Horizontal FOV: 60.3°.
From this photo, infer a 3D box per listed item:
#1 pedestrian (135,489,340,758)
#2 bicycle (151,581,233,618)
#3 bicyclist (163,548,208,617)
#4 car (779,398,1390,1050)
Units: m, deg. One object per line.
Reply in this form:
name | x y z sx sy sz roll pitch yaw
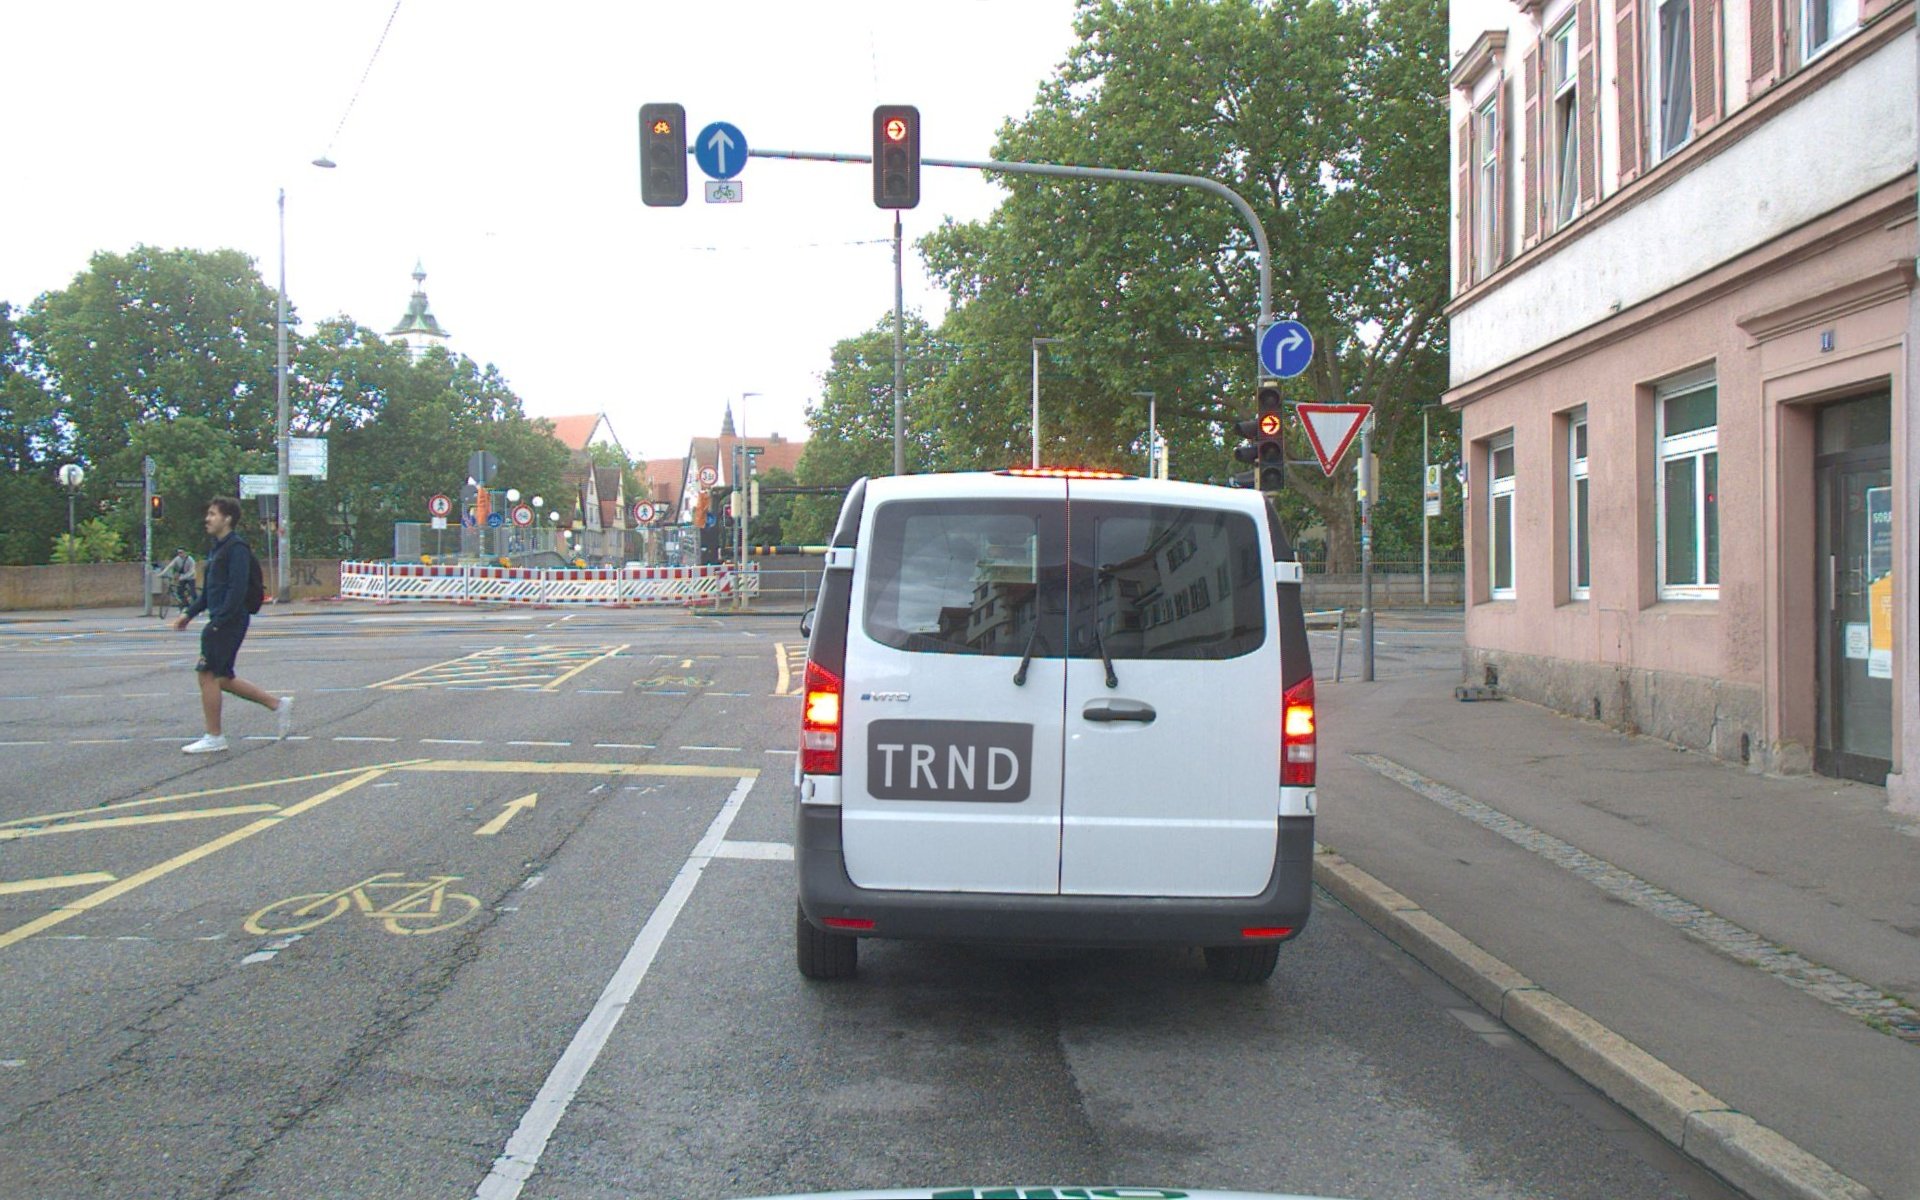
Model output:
pedestrian | -5.394 0.156 12.417 1.066 1.919 1.058 1 1 -1
bicycle | -19.601 -0.017 42.221 0.532 0.908 1.872 0 1 37
bicyclist | -19.698 -0.448 42.069 0.711 1.730 0.807 0 0 37
car | 0.362 0.336 7.608 1.911 2.048 4.698 1 2 -1
